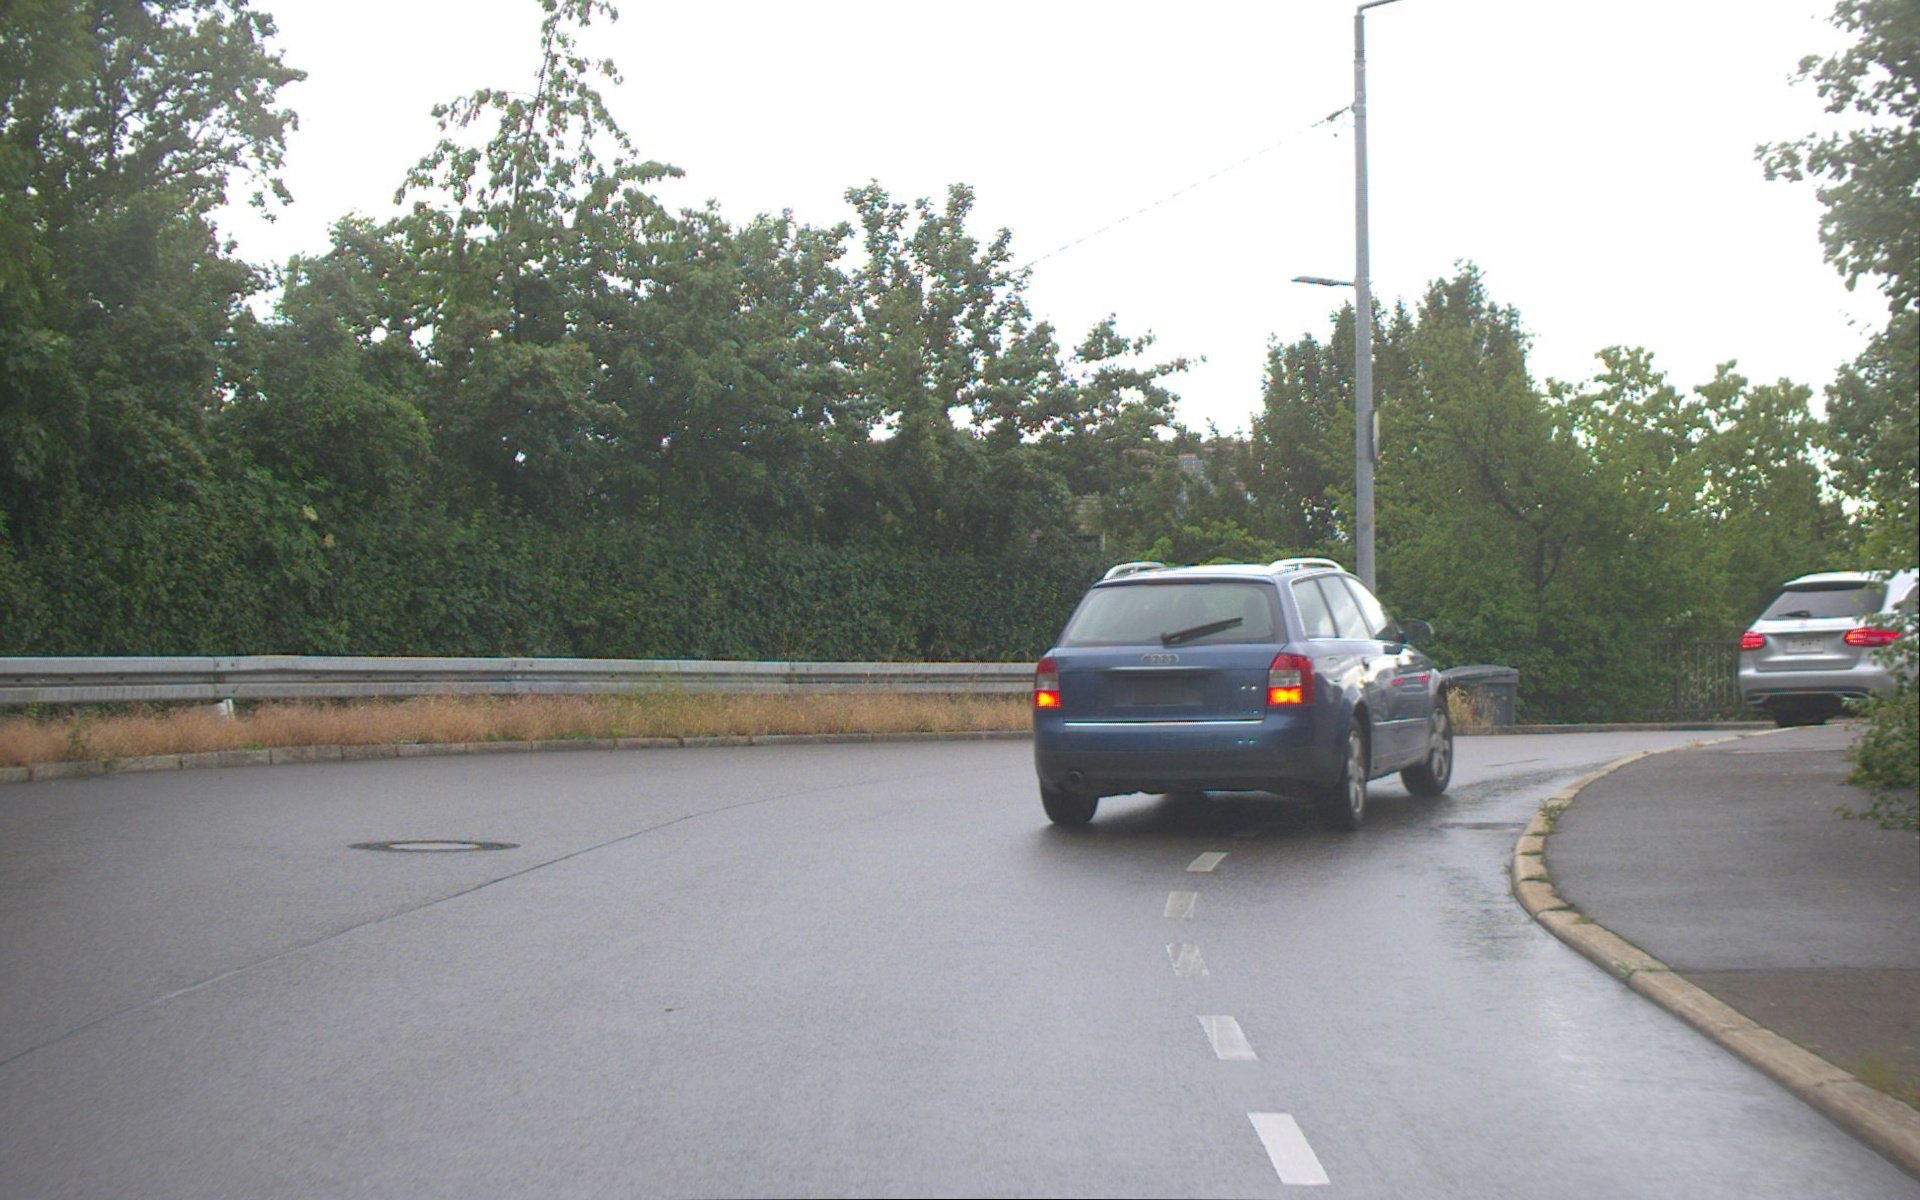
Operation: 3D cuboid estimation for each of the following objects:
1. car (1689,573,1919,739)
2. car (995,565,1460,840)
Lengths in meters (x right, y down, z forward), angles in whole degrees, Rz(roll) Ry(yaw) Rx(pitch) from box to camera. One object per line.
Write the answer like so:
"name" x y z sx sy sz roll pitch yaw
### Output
"car" 8.332 0.458 30.931 1.895 1.384 3.991 0 0 38
"car" 1.640 0.506 19.651 1.749 1.403 3.996 0 0 18
